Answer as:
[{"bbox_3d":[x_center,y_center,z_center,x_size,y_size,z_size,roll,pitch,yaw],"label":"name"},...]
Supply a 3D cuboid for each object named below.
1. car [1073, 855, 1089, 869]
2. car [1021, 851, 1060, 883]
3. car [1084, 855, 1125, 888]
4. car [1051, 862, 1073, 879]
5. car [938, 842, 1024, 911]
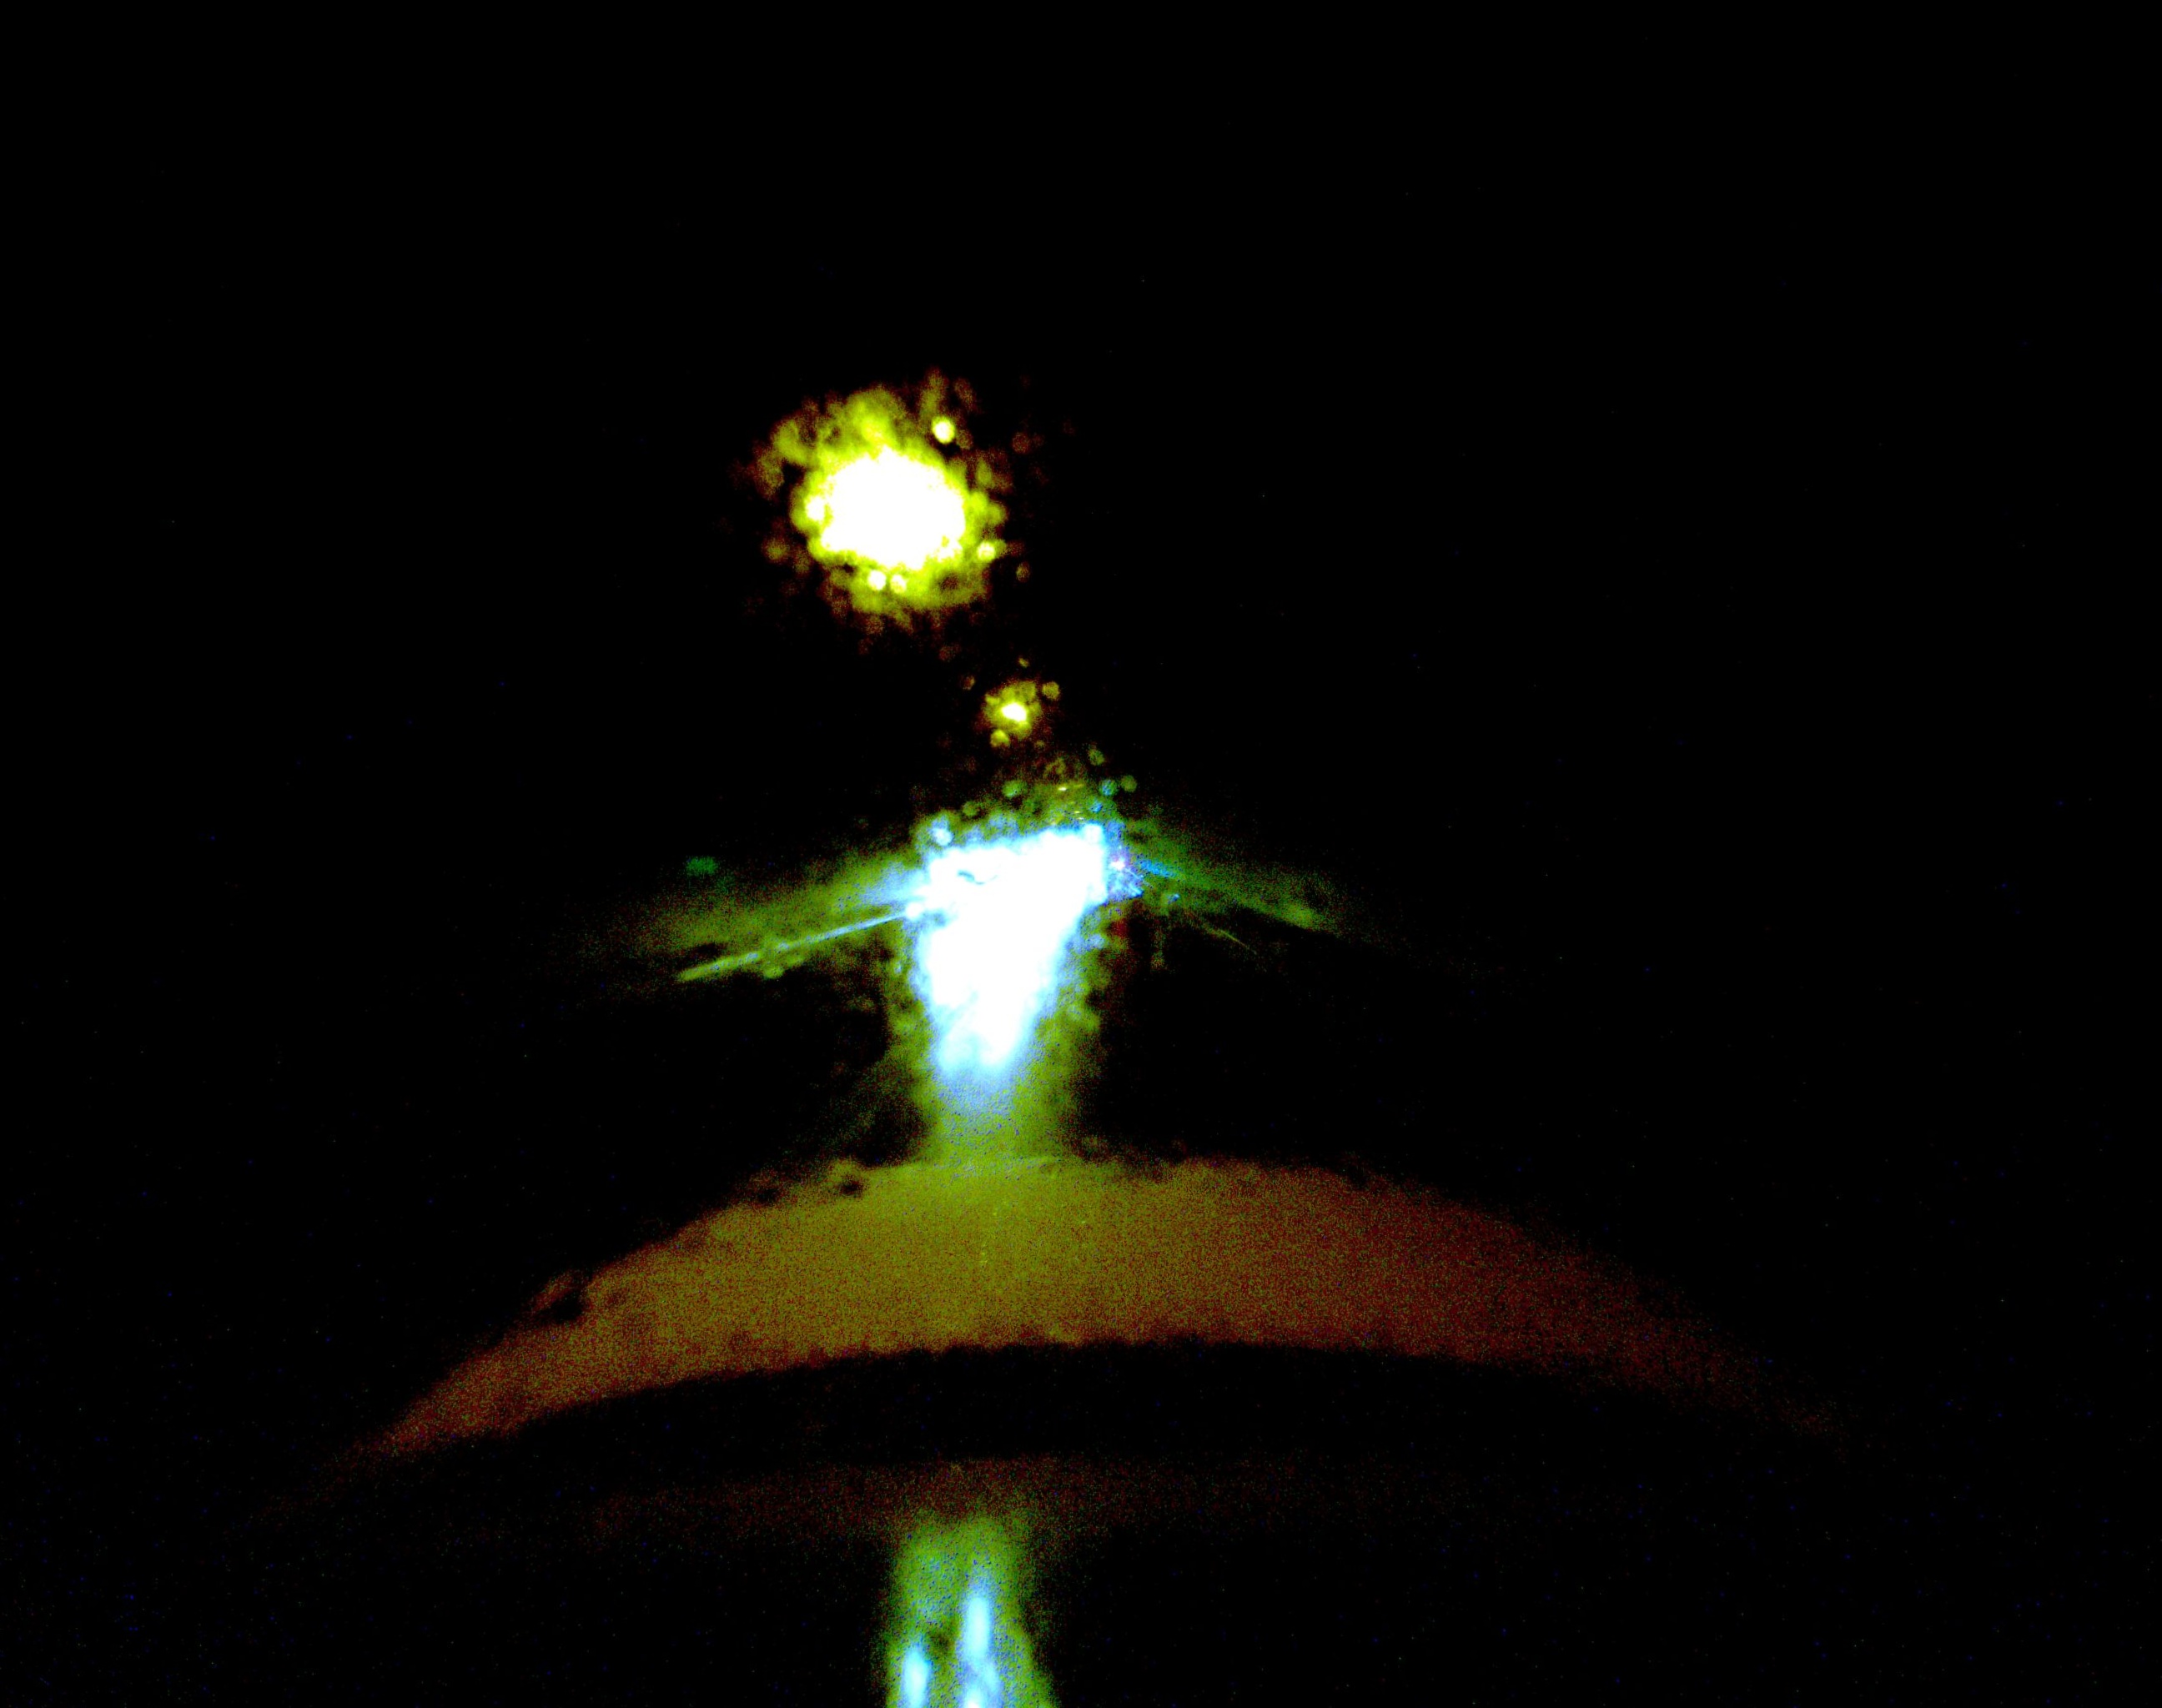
[{"bbox_3d":[-0.040,1.019,106.982,1.986,1.709,4.281,0,0,1],"label":"car"},{"bbox_3d":[-2.024,0.659,41.884,1.694,1.555,3.874,0,0,2],"label":"car"},{"bbox_3d":[1.231,0.885,43.004,2.082,1.662,4.001,0,0,1],"label":"car"},{"bbox_3d":[-1.619,1.370,69.266,1.684,1.422,3.626,-1,0,2],"label":"car"},{"bbox_3d":[-2.636,0.531,22.267,1.662,1.647,3.908,-3,1,2],"label":"car"}]
